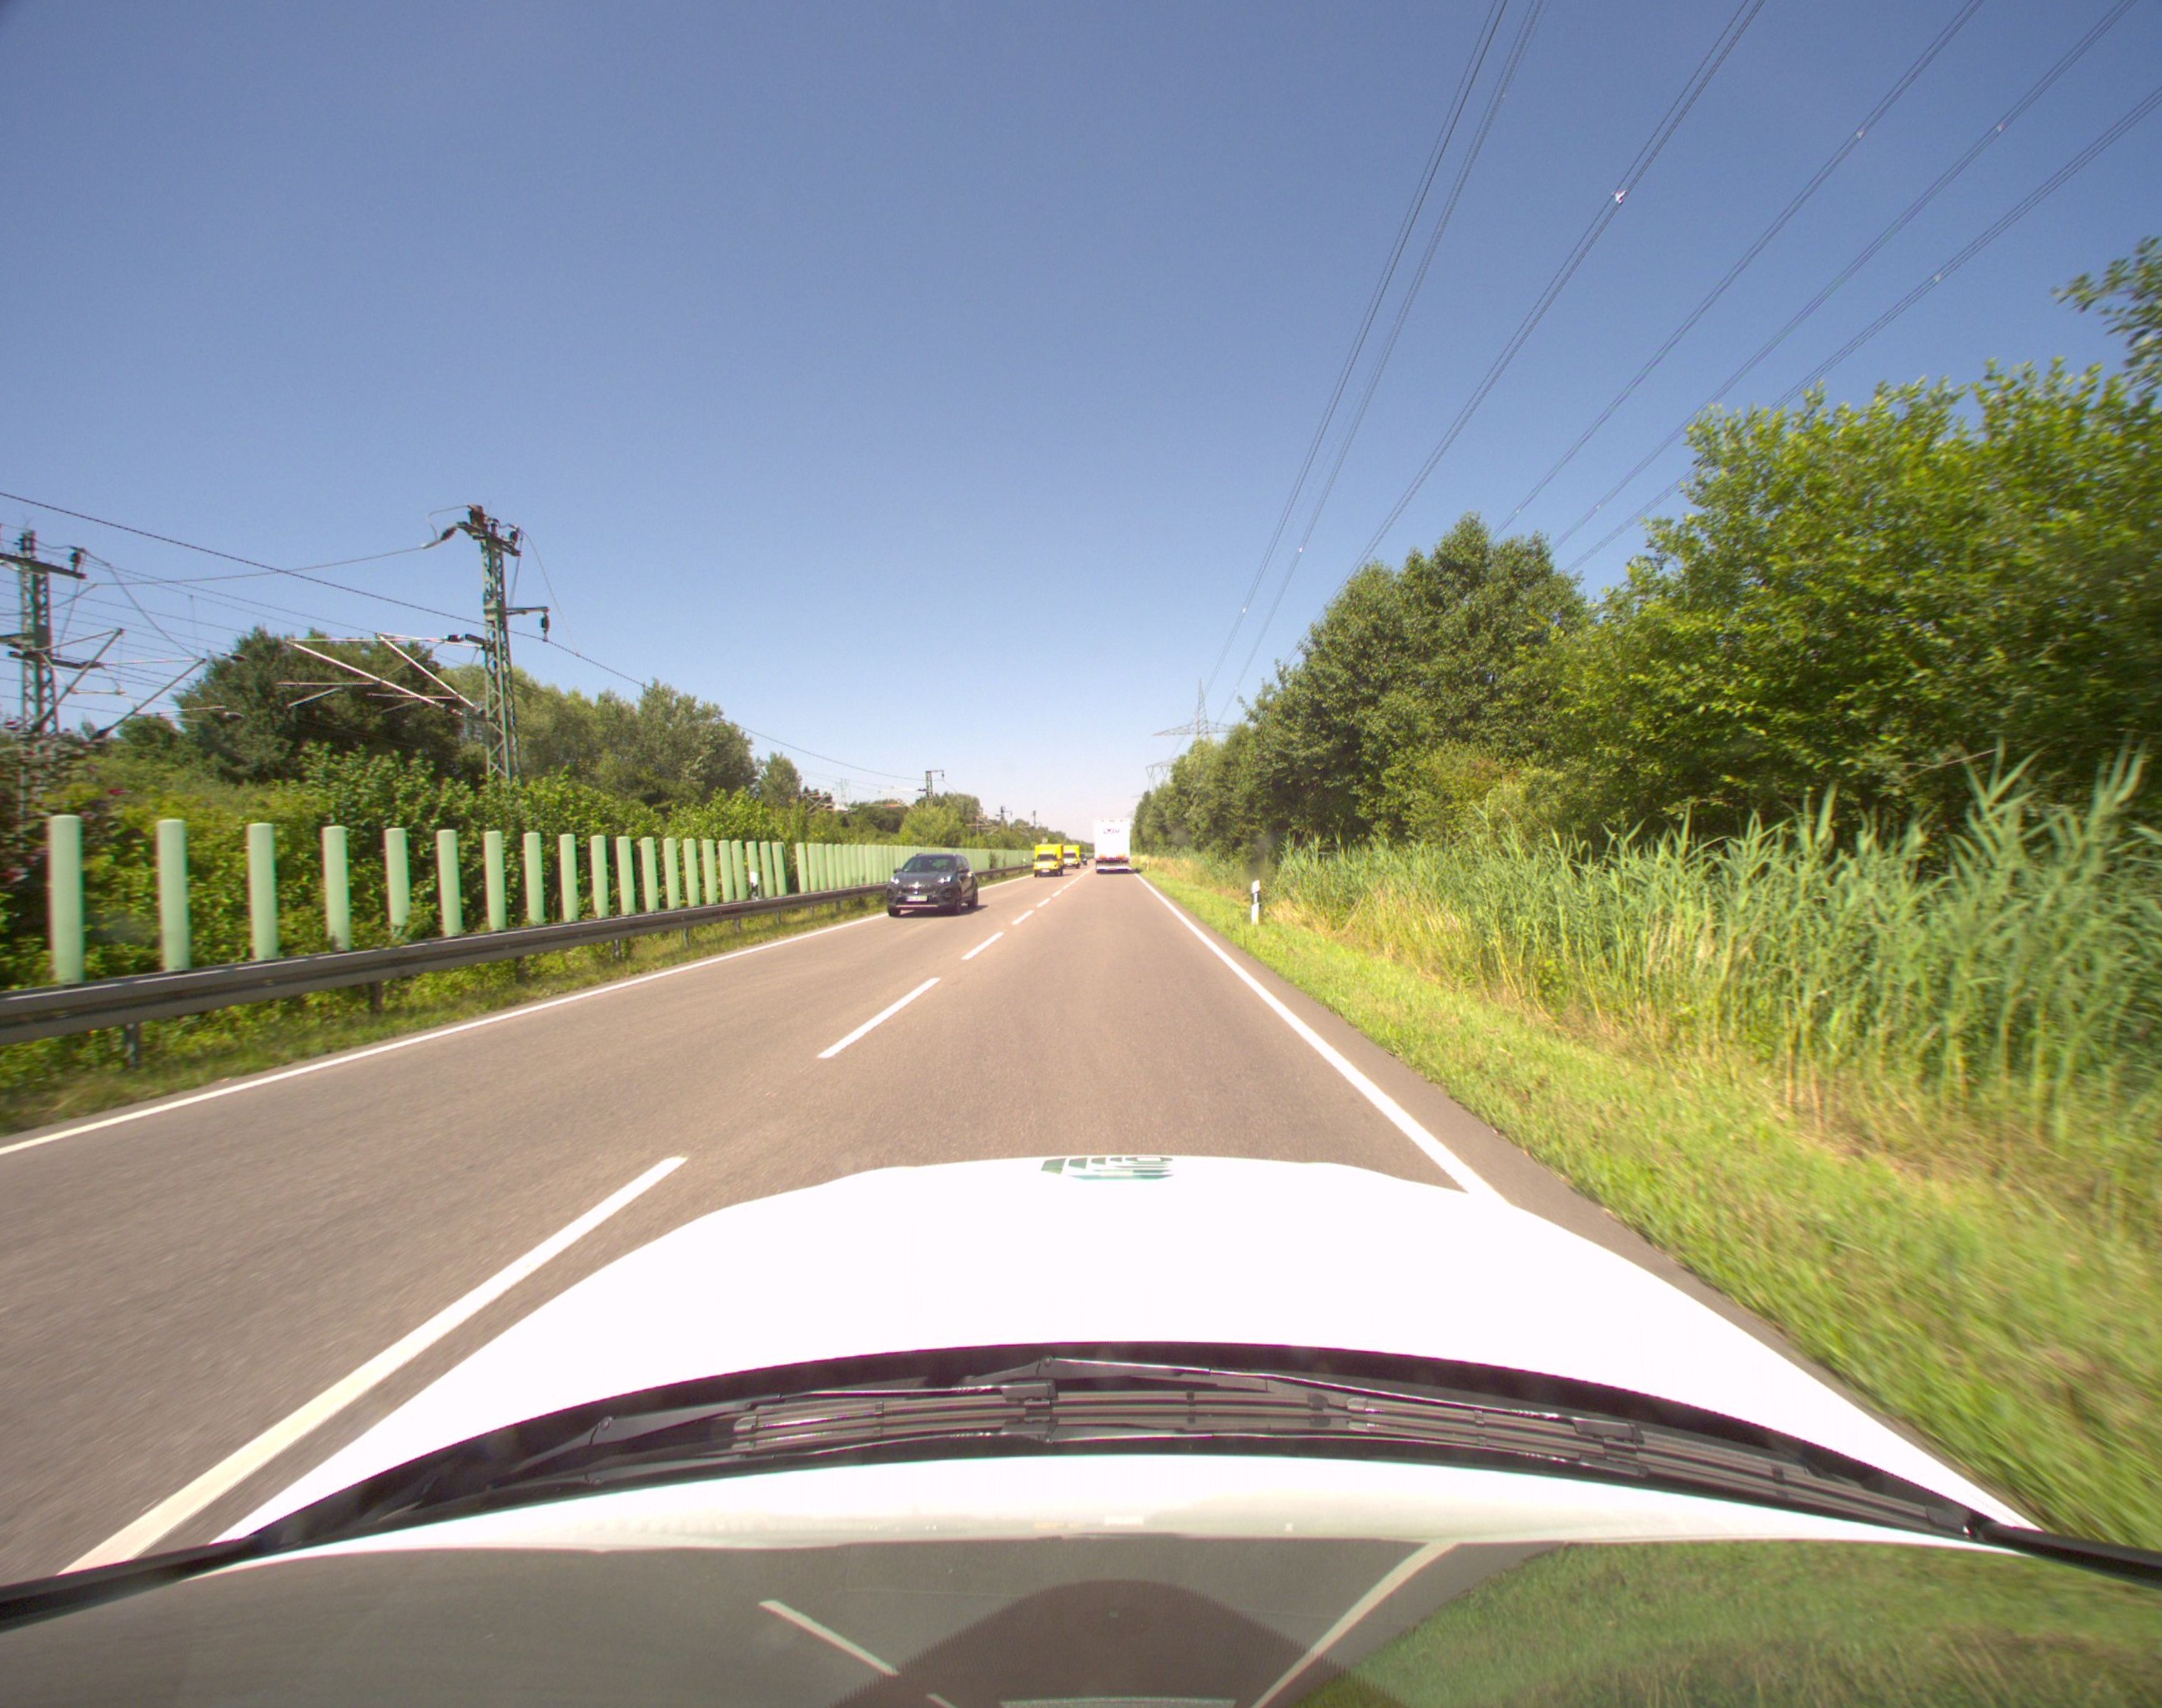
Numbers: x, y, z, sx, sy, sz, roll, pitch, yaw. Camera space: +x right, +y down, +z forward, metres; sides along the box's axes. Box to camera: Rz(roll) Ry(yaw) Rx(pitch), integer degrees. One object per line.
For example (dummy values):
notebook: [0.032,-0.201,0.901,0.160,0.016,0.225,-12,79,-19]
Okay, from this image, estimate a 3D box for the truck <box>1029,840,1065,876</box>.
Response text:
truck: [-2.367,0.265,58.539,1.985,2.348,6.016,-1,0,3]

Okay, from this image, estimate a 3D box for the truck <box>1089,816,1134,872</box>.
truck: [2.392,-0.726,65.221,3.180,4.042,12.011,-2,0,2]

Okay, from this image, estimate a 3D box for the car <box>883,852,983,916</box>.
car: [-3.993,0.745,22.748,1.794,1.587,4.373,-1,0,2]

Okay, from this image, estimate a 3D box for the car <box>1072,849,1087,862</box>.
car: [-0.161,0.255,112.115,1.807,1.694,4.708,-1,0,2]

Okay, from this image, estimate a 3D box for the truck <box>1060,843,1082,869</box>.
truck: [-1.057,0.188,87.257,2.072,2.646,5.707,-1,0,2]
